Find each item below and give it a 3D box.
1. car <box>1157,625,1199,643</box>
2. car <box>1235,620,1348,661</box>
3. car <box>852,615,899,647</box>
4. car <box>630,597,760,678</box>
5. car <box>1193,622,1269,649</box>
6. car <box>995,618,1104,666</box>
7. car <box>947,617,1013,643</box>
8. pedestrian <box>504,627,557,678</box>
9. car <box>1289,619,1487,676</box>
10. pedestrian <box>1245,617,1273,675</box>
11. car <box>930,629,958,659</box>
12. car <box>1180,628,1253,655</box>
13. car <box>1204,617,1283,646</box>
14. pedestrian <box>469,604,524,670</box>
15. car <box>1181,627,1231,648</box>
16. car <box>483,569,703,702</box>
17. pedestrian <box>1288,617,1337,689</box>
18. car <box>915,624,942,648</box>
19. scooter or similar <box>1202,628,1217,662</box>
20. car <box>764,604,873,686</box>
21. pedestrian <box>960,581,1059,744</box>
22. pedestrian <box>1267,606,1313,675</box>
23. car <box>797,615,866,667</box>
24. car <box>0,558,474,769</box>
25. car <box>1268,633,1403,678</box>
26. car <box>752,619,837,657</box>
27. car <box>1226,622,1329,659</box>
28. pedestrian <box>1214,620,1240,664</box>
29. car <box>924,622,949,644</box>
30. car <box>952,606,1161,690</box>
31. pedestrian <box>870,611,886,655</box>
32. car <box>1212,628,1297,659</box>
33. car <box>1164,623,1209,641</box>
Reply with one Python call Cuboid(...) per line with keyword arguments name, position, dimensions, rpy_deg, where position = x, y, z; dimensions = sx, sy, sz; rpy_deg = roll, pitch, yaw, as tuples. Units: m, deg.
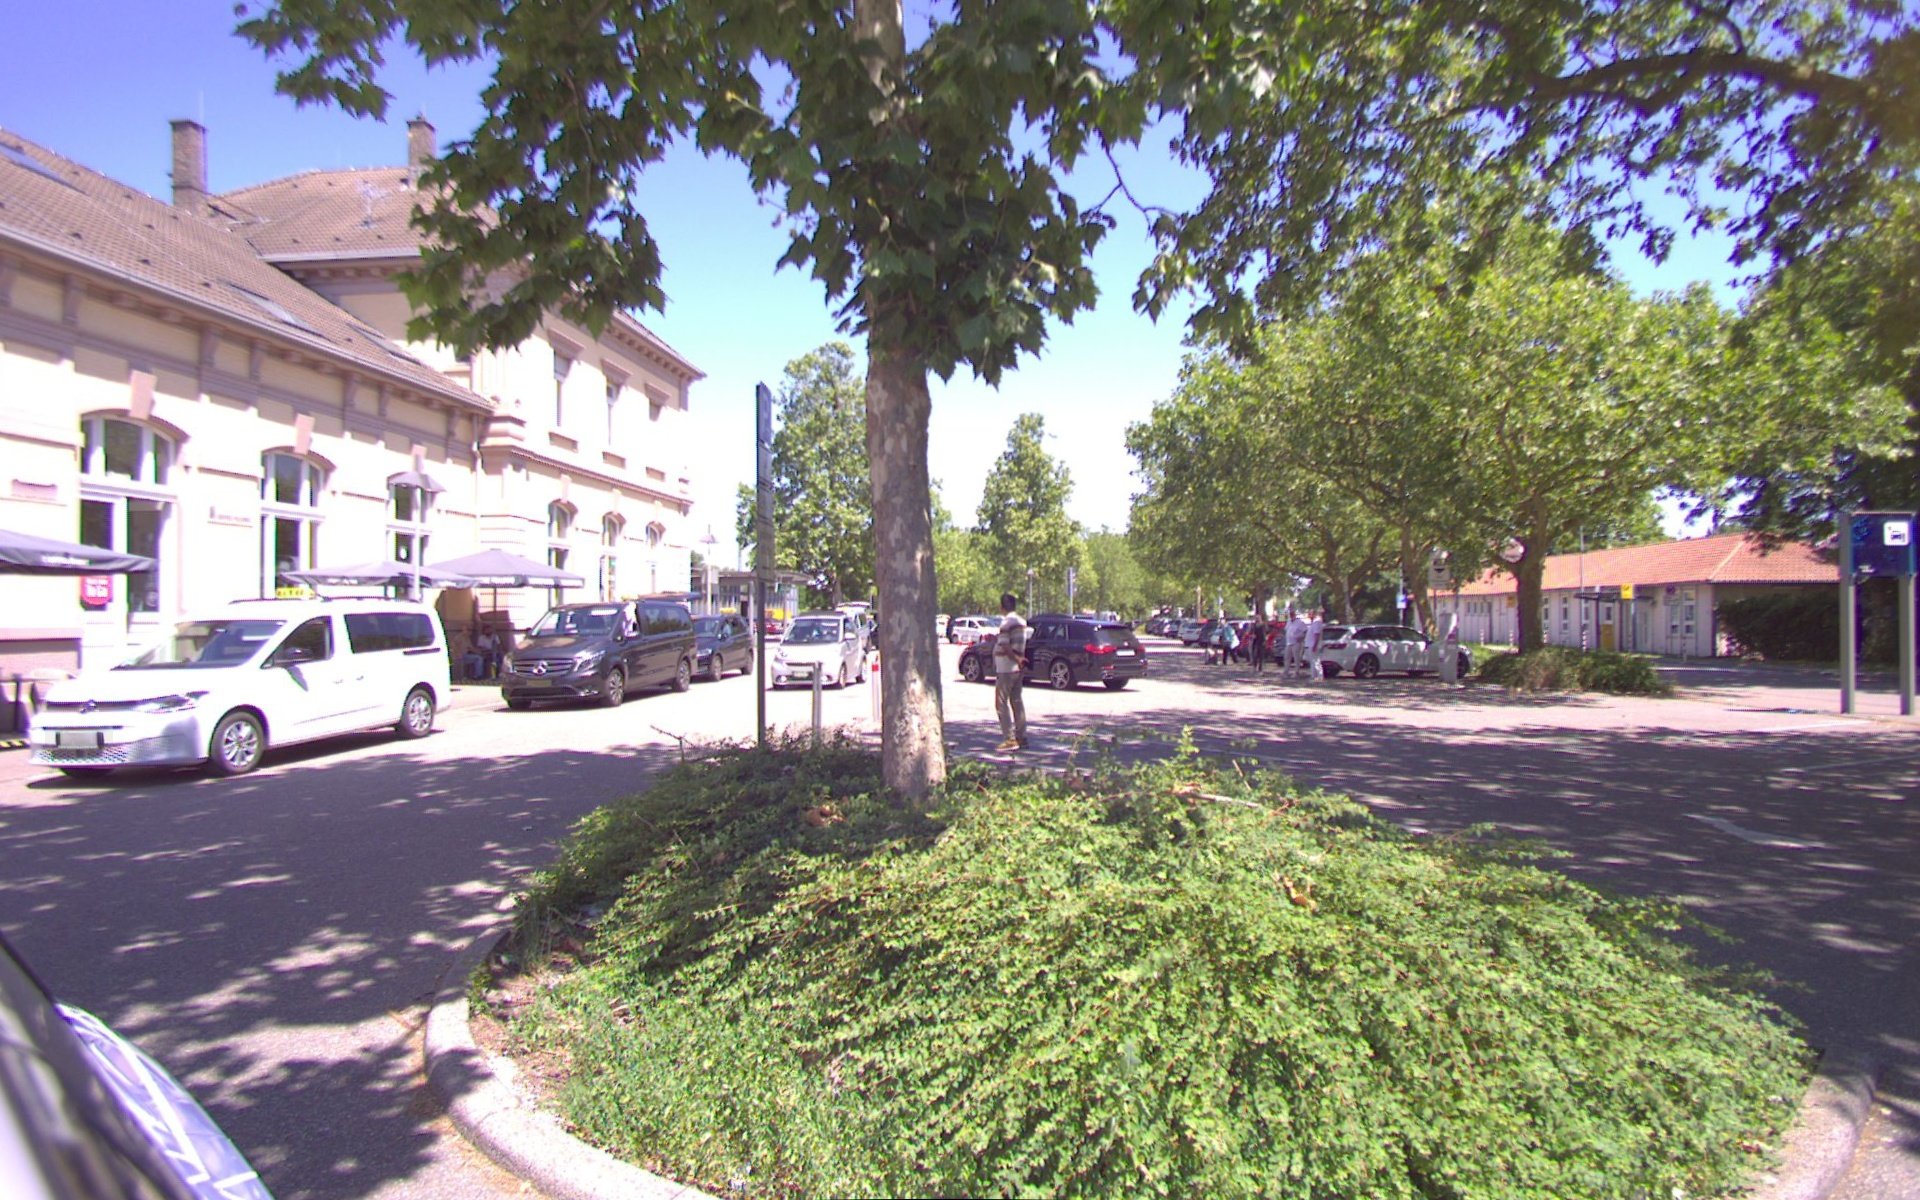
Cuboid(name="car", position=(17.826, 2.791, 82.778), dimensions=(3.116, 1.405, 1.465), rpy_deg=(0, -1, 1))
Cuboid(name="car", position=(12.316, 1.475, 37.573), dimensions=(3.809, 1.471, 1.642), rpy_deg=(1, -2, -22))
Cuboid(name="car", position=(-5.044, 1.843, 61.237), dimensions=(1.976, 1.803, 4.238), rpy_deg=(-3, -1, 7))
Cuboid(name="car", position=(-6.672, 0.963, 26.061), dimensions=(2.052, 1.854, 4.838), rpy_deg=(-1, -2, 1))
Cuboid(name="car", position=(14.916, 1.950, 55.712), dimensions=(3.809, 1.471, 1.642), rpy_deg=(1, -2, -22))
Cuboid(name="car", position=(3.333, 1.535, 38.328), dimensions=(1.772, 1.617, 4.071), rpy_deg=(-1, 1, -39))
Cuboid(name="car", position=(1.091, 1.673, 56.566), dimensions=(1.776, 1.414, 3.516), rpy_deg=(2, -2, -43))
Cuboid(name="pedestrian", position=(-10.332, 1.258, 24.378), dimensions=(0.841, 1.173, 0.880), rpy_deg=(1, -2, 5))
Cuboid(name="car", position=(11.488, 1.247, 27.240), dimensions=(4.699, 1.428, 1.791), rpy_deg=(0, -1, -13))
Cuboid(name="pedestrian", position=(8.173, 1.244, 27.646), dimensions=(0.582, 1.560, 0.610), rpy_deg=(1, -2, 2))
Cuboid(name="car", position=(-0.921, 2.601, 60.216), dimensions=(1.438, 1.682, 3.102), rpy_deg=(0, -1, 4))
Cuboid(name="car", position=(14.722, 2.362, 58.029), dimensions=(3.809, 1.471, 1.642), rpy_deg=(1, -2, -22))
Cuboid(name="car", position=(14.942, 1.633, 53.375), dimensions=(3.809, 1.471, 1.642), rpy_deg=(1, -2, -22))
Cuboid(name="pedestrian", position=(-11.205, 0.896, 24.504), dimensions=(0.870, 1.555, 0.851), rpy_deg=(1, -2, 2))
Cuboid(name="car", position=(17.243, 2.616, 71.088), dimensions=(3.116, 1.405, 1.465), rpy_deg=(0, -1, 1))
Cuboid(name="car", position=(-6.745, 0.690, 19.432), dimensions=(2.065, 2.140, 5.823), rpy_deg=(-1, -2, 1))
Cuboid(name="pedestrian", position=(8.956, 1.340, 25.712), dimensions=(0.825, 1.784, 0.854), rpy_deg=(0, -2, -14))
Cuboid(name="car", position=(-2.590, 2.966, 84.595), dimensions=(2.023, 1.854, 4.963), rpy_deg=(-2, -1, 1))
Cuboid(name="scooter or similar", position=(8.292, 1.494, 33.594), dimensions=(0.401, 1.110, 0.434), rpy_deg=(-1, -2, 27))
Cuboid(name="car", position=(-2.912, 0.924, 21.410), dimensions=(1.582, 1.605, 3.100), rpy_deg=(0, -1, 6))
Cuboid(name="pedestrian", position=(0.548, 0.675, 11.297), dimensions=(0.761, 1.730, 0.816), rpy_deg=(1, -2, -41))
Cuboid(name="pedestrian", position=(8.712, 1.068, 26.733), dimensions=(0.825, 1.784, 0.854), rpy_deg=(0, -2, -13))
Cuboid(name="car", position=(-5.030, 1.585, 40.270), dimensions=(1.977, 1.854, 5.316), rpy_deg=(-2, -1, 1))
Cuboid(name="car", position=(-7.886, 0.675, 11.749), dimensions=(1.791, 1.880, 5.133), rpy_deg=(-1, -2, 3))
Cuboid(name="car", position=(12.492, 1.812, 33.682), dimensions=(3.957, 1.416, 1.884), rpy_deg=(1, -2, -23))
Cuboid(name="car", position=(-10.332, 2.377, 63.492), dimensions=(4.902, 2.136, 2.048), rpy_deg=(-2, -2, 5))
Cuboid(name="car", position=(12.977, 1.629, 41.407), dimensions=(3.809, 1.471, 1.642), rpy_deg=(1, -2, -22))
Cuboid(name="pedestrian", position=(8.790, 1.370, 33.309), dimensions=(0.687, 1.435, 0.794), rpy_deg=(-1, -2, 27))
Cuboid(name="car", position=(-2.116, 2.994, 91.232), dimensions=(2.023, 1.854, 4.963), rpy_deg=(-2, -1, 1))
Cuboid(name="car", position=(1.958, 0.935, 21.751), dimensions=(1.772, 1.554, 4.537), rpy_deg=(-1, 1, -40))
Cuboid(name="pedestrian", position=(-3.794, 1.540, 46.779), dimensions=(0.620, 2.005, 0.617), rpy_deg=(-2, -2, 1))
Cuboid(name="car", position=(14.656, 2.157, 50.365), dimensions=(3.809, 1.471, 1.642), rpy_deg=(1, -2, -22))
Cuboid(name="car", position=(17.677, 2.511, 79.053), dimensions=(3.116, 1.405, 1.465), rpy_deg=(0, -1, 1))
